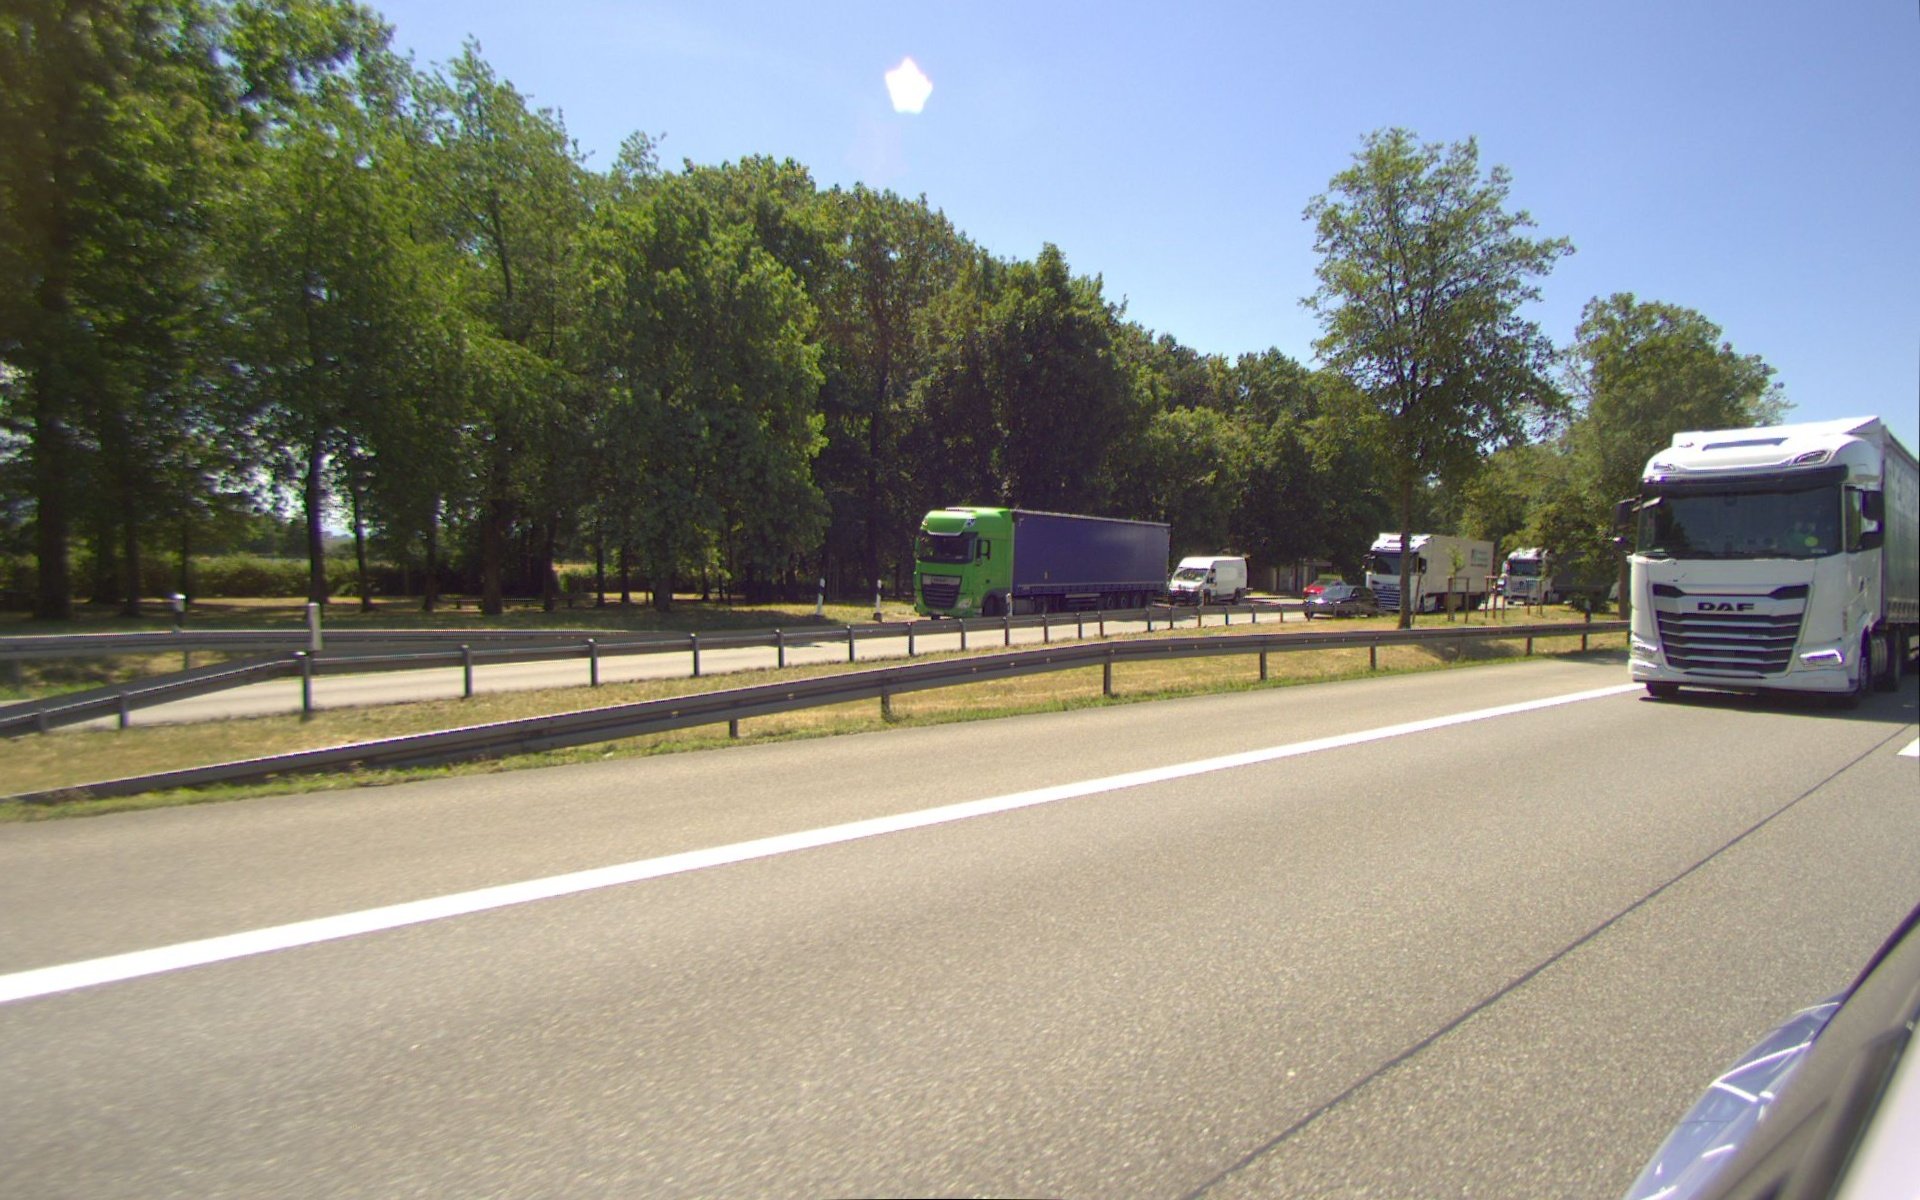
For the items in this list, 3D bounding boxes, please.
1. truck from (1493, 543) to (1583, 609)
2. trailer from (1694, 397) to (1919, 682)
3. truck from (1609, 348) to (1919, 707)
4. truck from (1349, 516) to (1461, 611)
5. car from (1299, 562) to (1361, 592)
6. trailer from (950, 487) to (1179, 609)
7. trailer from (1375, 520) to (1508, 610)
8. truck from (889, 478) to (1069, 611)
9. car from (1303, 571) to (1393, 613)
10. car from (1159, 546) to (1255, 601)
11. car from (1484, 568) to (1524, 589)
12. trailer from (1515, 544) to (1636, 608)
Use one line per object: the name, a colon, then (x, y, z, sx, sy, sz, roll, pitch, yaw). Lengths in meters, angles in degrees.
truck: (41.629, -1.716, 72.762, 8.095, 4.519, 3.387, -1, 1, -43)
trailer: (19.108, -0.996, 21.342, 14.724, 4.326, 2.860, -1, 0, -42)
truck: (12.664, -0.909, 15.539, 6.746, 4.326, 2.860, -1, 0, -42)
truck: (22.849, -1.756, 51.748, 3.379, 4.519, 7.282, 0, 0, 40)
car: (23.902, -1.478, 65.283, 2.140, 1.775, 4.797, 4, 4, 41)
trailer: (4.822, -1.963, 41.988, 3.374, 4.311, 12.974, 1, 1, 36)
trailer: (27.587, -1.832, 57.426, 3.379, 4.519, 14.153, 0, 0, 40)
truck: (0.823, -1.874, 36.483, 3.374, 4.311, 6.530, 1, 1, 36)
car: (17.505, -0.388, 45.559, 4.603, 1.731, 1.996, -1, 4, -45)
car: (13.049, -1.404, 53.030, 2.304, 2.614, 6.557, 4, 3, 38)
car: (49.637, -1.962, 92.233, 2.140, 1.716, 4.797, 4, 4, 41)
trailer: (48.359, -1.794, 79.088, 17.822, 4.519, 3.387, -1, 2, -43)
